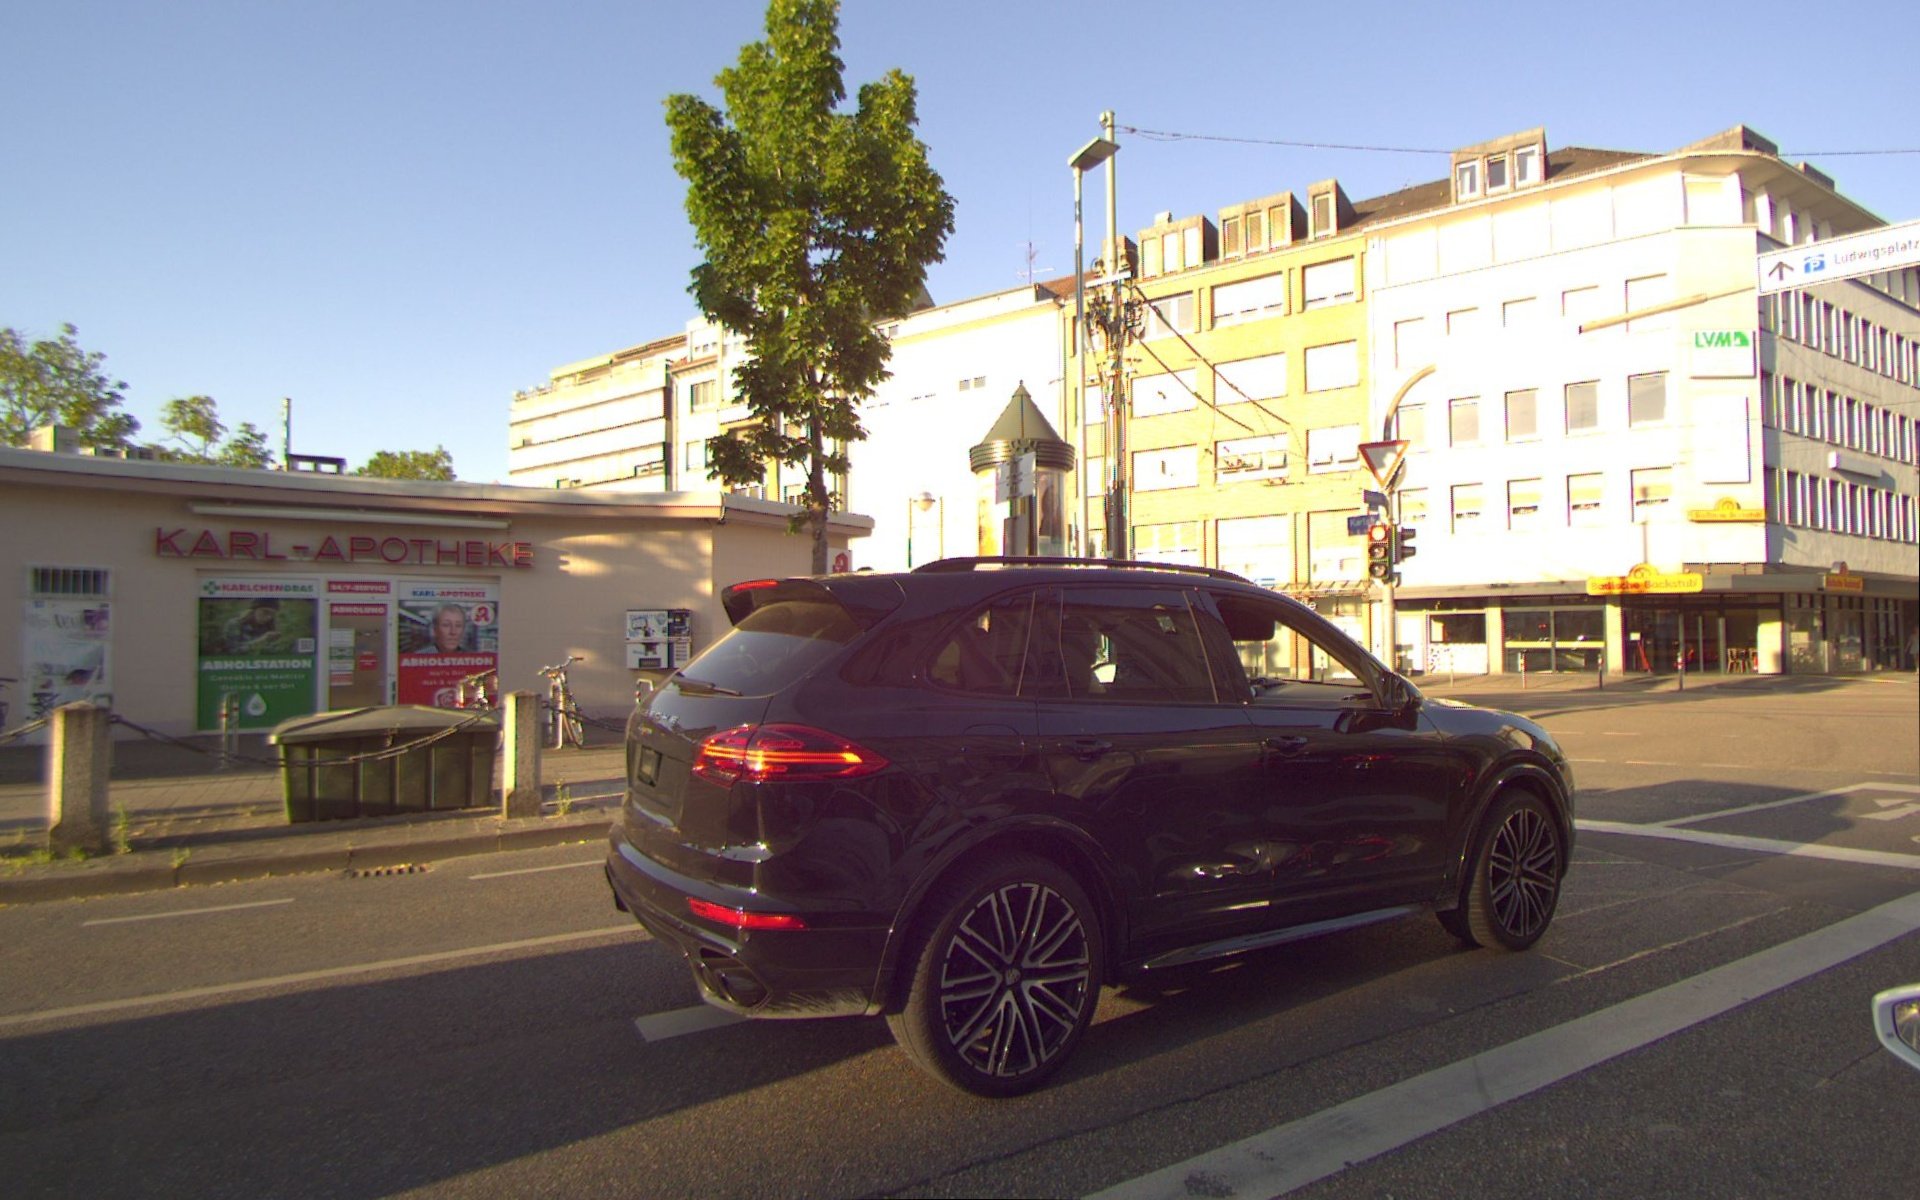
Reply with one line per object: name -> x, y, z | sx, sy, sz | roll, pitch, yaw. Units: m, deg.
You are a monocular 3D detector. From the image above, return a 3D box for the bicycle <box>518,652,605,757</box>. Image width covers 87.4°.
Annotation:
bicycle -> -5.386, 1.334, 13.487 | 0.778, 1.273, 2.433 | 1, -3, -29

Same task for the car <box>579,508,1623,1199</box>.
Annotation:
car -> 0.815, 0.706, 4.569 | 4.510, 1.736, 1.939 | 1, -3, -32

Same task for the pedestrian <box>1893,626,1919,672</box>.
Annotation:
pedestrian -> 35.645, 1.831, 37.579 | 0.862, 1.698, 0.819 | 1, -3, -32

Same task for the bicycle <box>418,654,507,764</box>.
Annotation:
bicycle -> -6.440, 1.348, 12.947 | 0.938, 1.273, 1.997 | 1, -3, -29

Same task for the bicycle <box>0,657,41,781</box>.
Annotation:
bicycle -> -10.327, 1.241, 10.496 | 0.625, 1.273, 1.846 | 1, -3, -29
